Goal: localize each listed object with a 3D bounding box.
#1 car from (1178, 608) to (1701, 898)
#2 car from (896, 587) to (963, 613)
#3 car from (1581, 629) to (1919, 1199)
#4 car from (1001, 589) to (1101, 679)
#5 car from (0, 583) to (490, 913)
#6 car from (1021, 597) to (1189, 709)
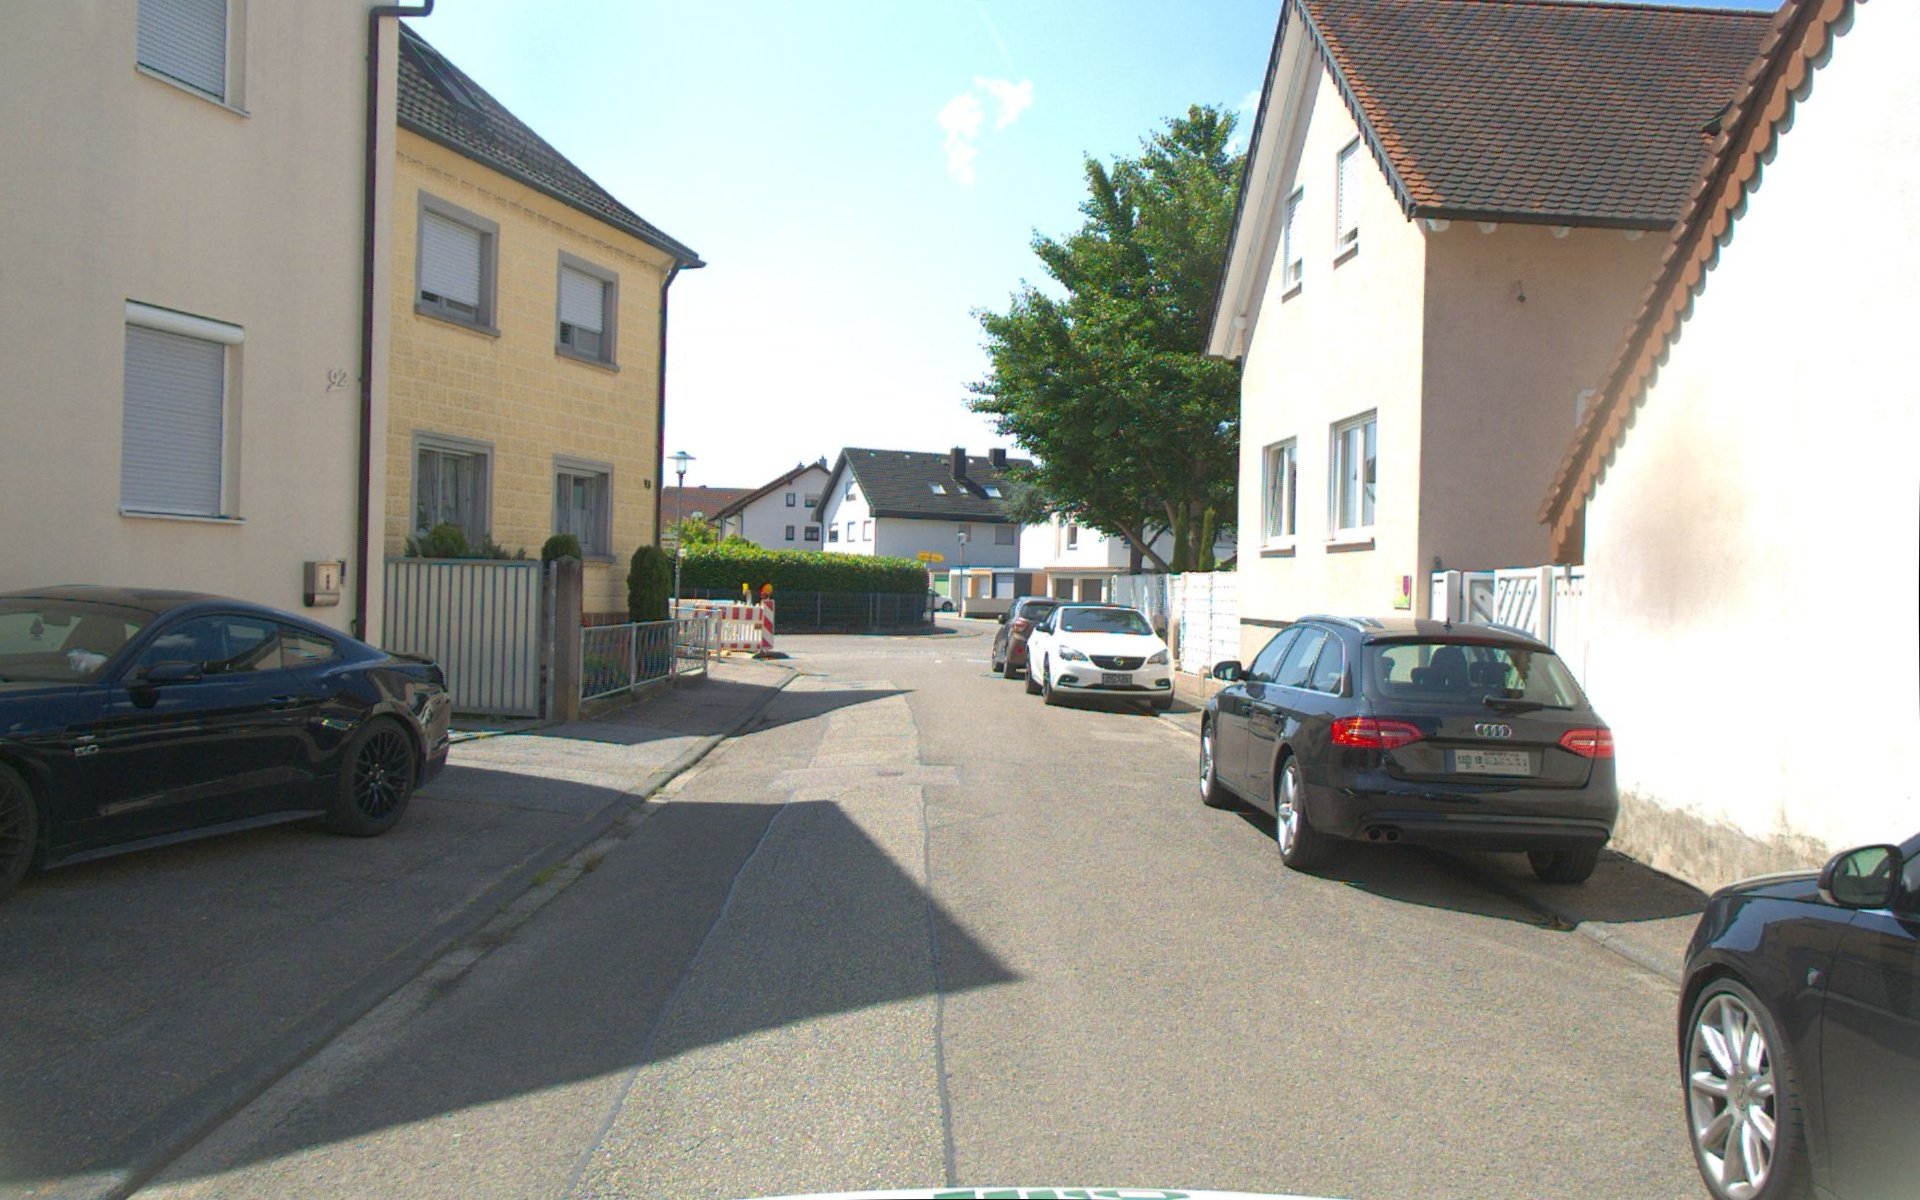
[{"bbox_3d":[2.778,0.802,10.844,1.858,1.389,4.735,2,0,-2],"label":"car"},{"bbox_3d":[-1.804,-0.012,97.481,3.553,1.433,1.770,2,0,-25],"label":"car"},{"bbox_3d":[2.849,0.820,2.889,1.857,1.389,4.414,2,0,0],"label":"car"},{"bbox_3d":[1.682,0.610,31.723,1.677,1.559,4.035,2,0,0],"label":"car"},{"bbox_3d":[-4.455,0.623,8.474,1.732,1.373,4.471,2,0,17],"label":"car"},{"bbox_3d":[2.067,0.716,24.905,1.858,1.453,4.735,2,0,-3],"label":"car"}]
